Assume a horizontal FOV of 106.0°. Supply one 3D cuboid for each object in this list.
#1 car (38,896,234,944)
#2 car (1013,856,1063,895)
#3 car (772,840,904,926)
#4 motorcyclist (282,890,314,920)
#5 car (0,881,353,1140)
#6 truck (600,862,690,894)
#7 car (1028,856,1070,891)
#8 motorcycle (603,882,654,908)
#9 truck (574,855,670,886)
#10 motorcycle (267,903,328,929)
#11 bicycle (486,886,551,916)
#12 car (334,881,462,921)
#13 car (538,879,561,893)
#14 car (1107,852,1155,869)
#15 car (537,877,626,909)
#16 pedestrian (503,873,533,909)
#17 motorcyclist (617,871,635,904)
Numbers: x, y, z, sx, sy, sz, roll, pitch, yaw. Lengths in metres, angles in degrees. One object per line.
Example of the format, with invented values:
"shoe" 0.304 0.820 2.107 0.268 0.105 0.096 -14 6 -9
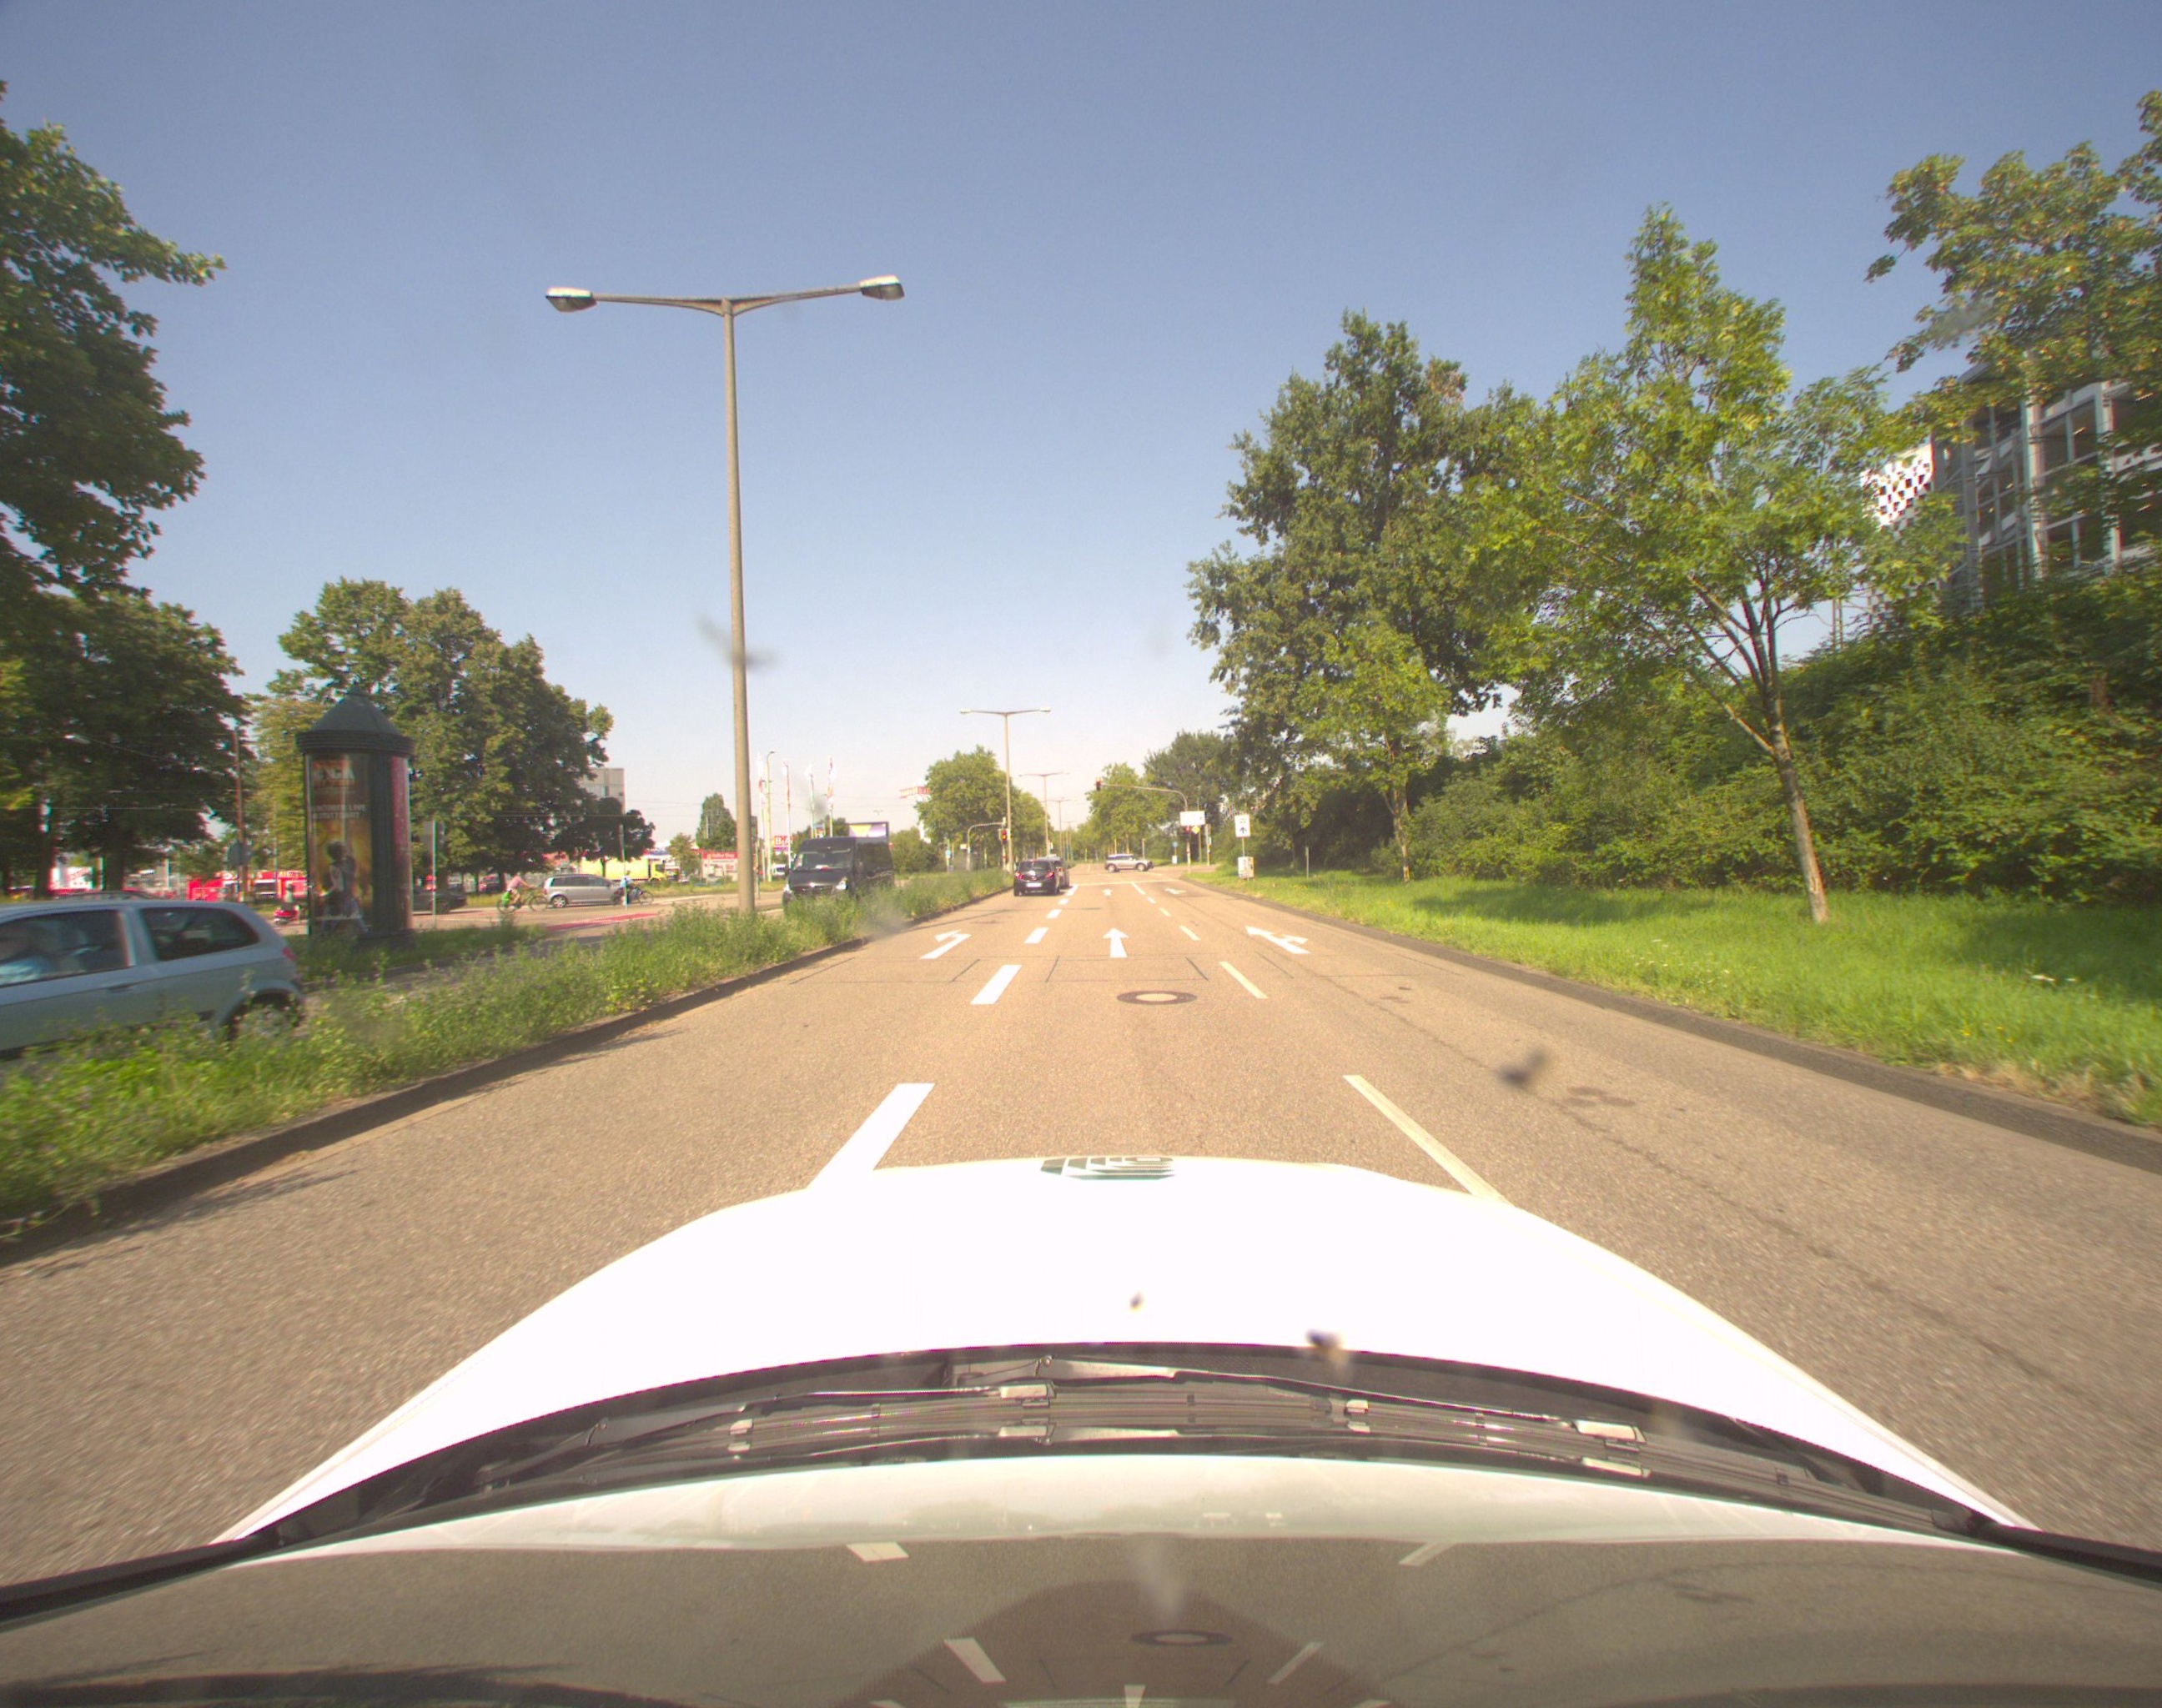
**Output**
"car" -37.174 2.546 32.236 4.767 1.443 1.555 -2 0 -35
"car" -1.703 0.845 33.388 1.686 1.486 4.001 -1 0 1
"car" -7.467 0.829 25.861 2.104 2.333 6.283 -2 -1 1
"motorcyclist" -32.553 2.130 33.874 0.834 1.178 0.684 -1 -1 -34
"car" -7.720 1.050 5.580 1.766 1.574 4.001 -2 -1 2
"truck" -34.738 1.902 65.005 5.964 2.329 2.104 -2 -1 -2
"car" -1.477 0.883 38.724 1.686 1.486 4.001 -3 0 1
"motorcycle" -22.031 1.980 39.645 2.084 1.136 0.670 -2 -1 -34
"truck" -51.708 1.793 91.801 9.052 2.958 3.476 -3 0 -35
"motorcycle" -32.544 2.573 33.860 1.728 0.945 0.704 -1 -1 -34
"bicycle" -25.533 2.104 37.018 2.370 1.235 0.865 -1 -1 -35
"car" -30.897 2.099 37.021 4.331 1.579 1.554 -1 -1 -36
"car" -48.764 2.902 74.731 1.616 1.135 3.383 -1 -1 -31
"car" 4.390 0.576 71.469 3.934 1.486 1.633 -1 0 18
"car" -25.146 1.938 41.058 3.718 1.443 1.451 -1 -1 -35
"pedestrian" -25.602 1.687 37.042 1.062 1.575 0.859 -1 -1 -35
"motorcyclist" -22.112 1.613 39.590 0.686 1.572 0.676 -1 -1 -35
